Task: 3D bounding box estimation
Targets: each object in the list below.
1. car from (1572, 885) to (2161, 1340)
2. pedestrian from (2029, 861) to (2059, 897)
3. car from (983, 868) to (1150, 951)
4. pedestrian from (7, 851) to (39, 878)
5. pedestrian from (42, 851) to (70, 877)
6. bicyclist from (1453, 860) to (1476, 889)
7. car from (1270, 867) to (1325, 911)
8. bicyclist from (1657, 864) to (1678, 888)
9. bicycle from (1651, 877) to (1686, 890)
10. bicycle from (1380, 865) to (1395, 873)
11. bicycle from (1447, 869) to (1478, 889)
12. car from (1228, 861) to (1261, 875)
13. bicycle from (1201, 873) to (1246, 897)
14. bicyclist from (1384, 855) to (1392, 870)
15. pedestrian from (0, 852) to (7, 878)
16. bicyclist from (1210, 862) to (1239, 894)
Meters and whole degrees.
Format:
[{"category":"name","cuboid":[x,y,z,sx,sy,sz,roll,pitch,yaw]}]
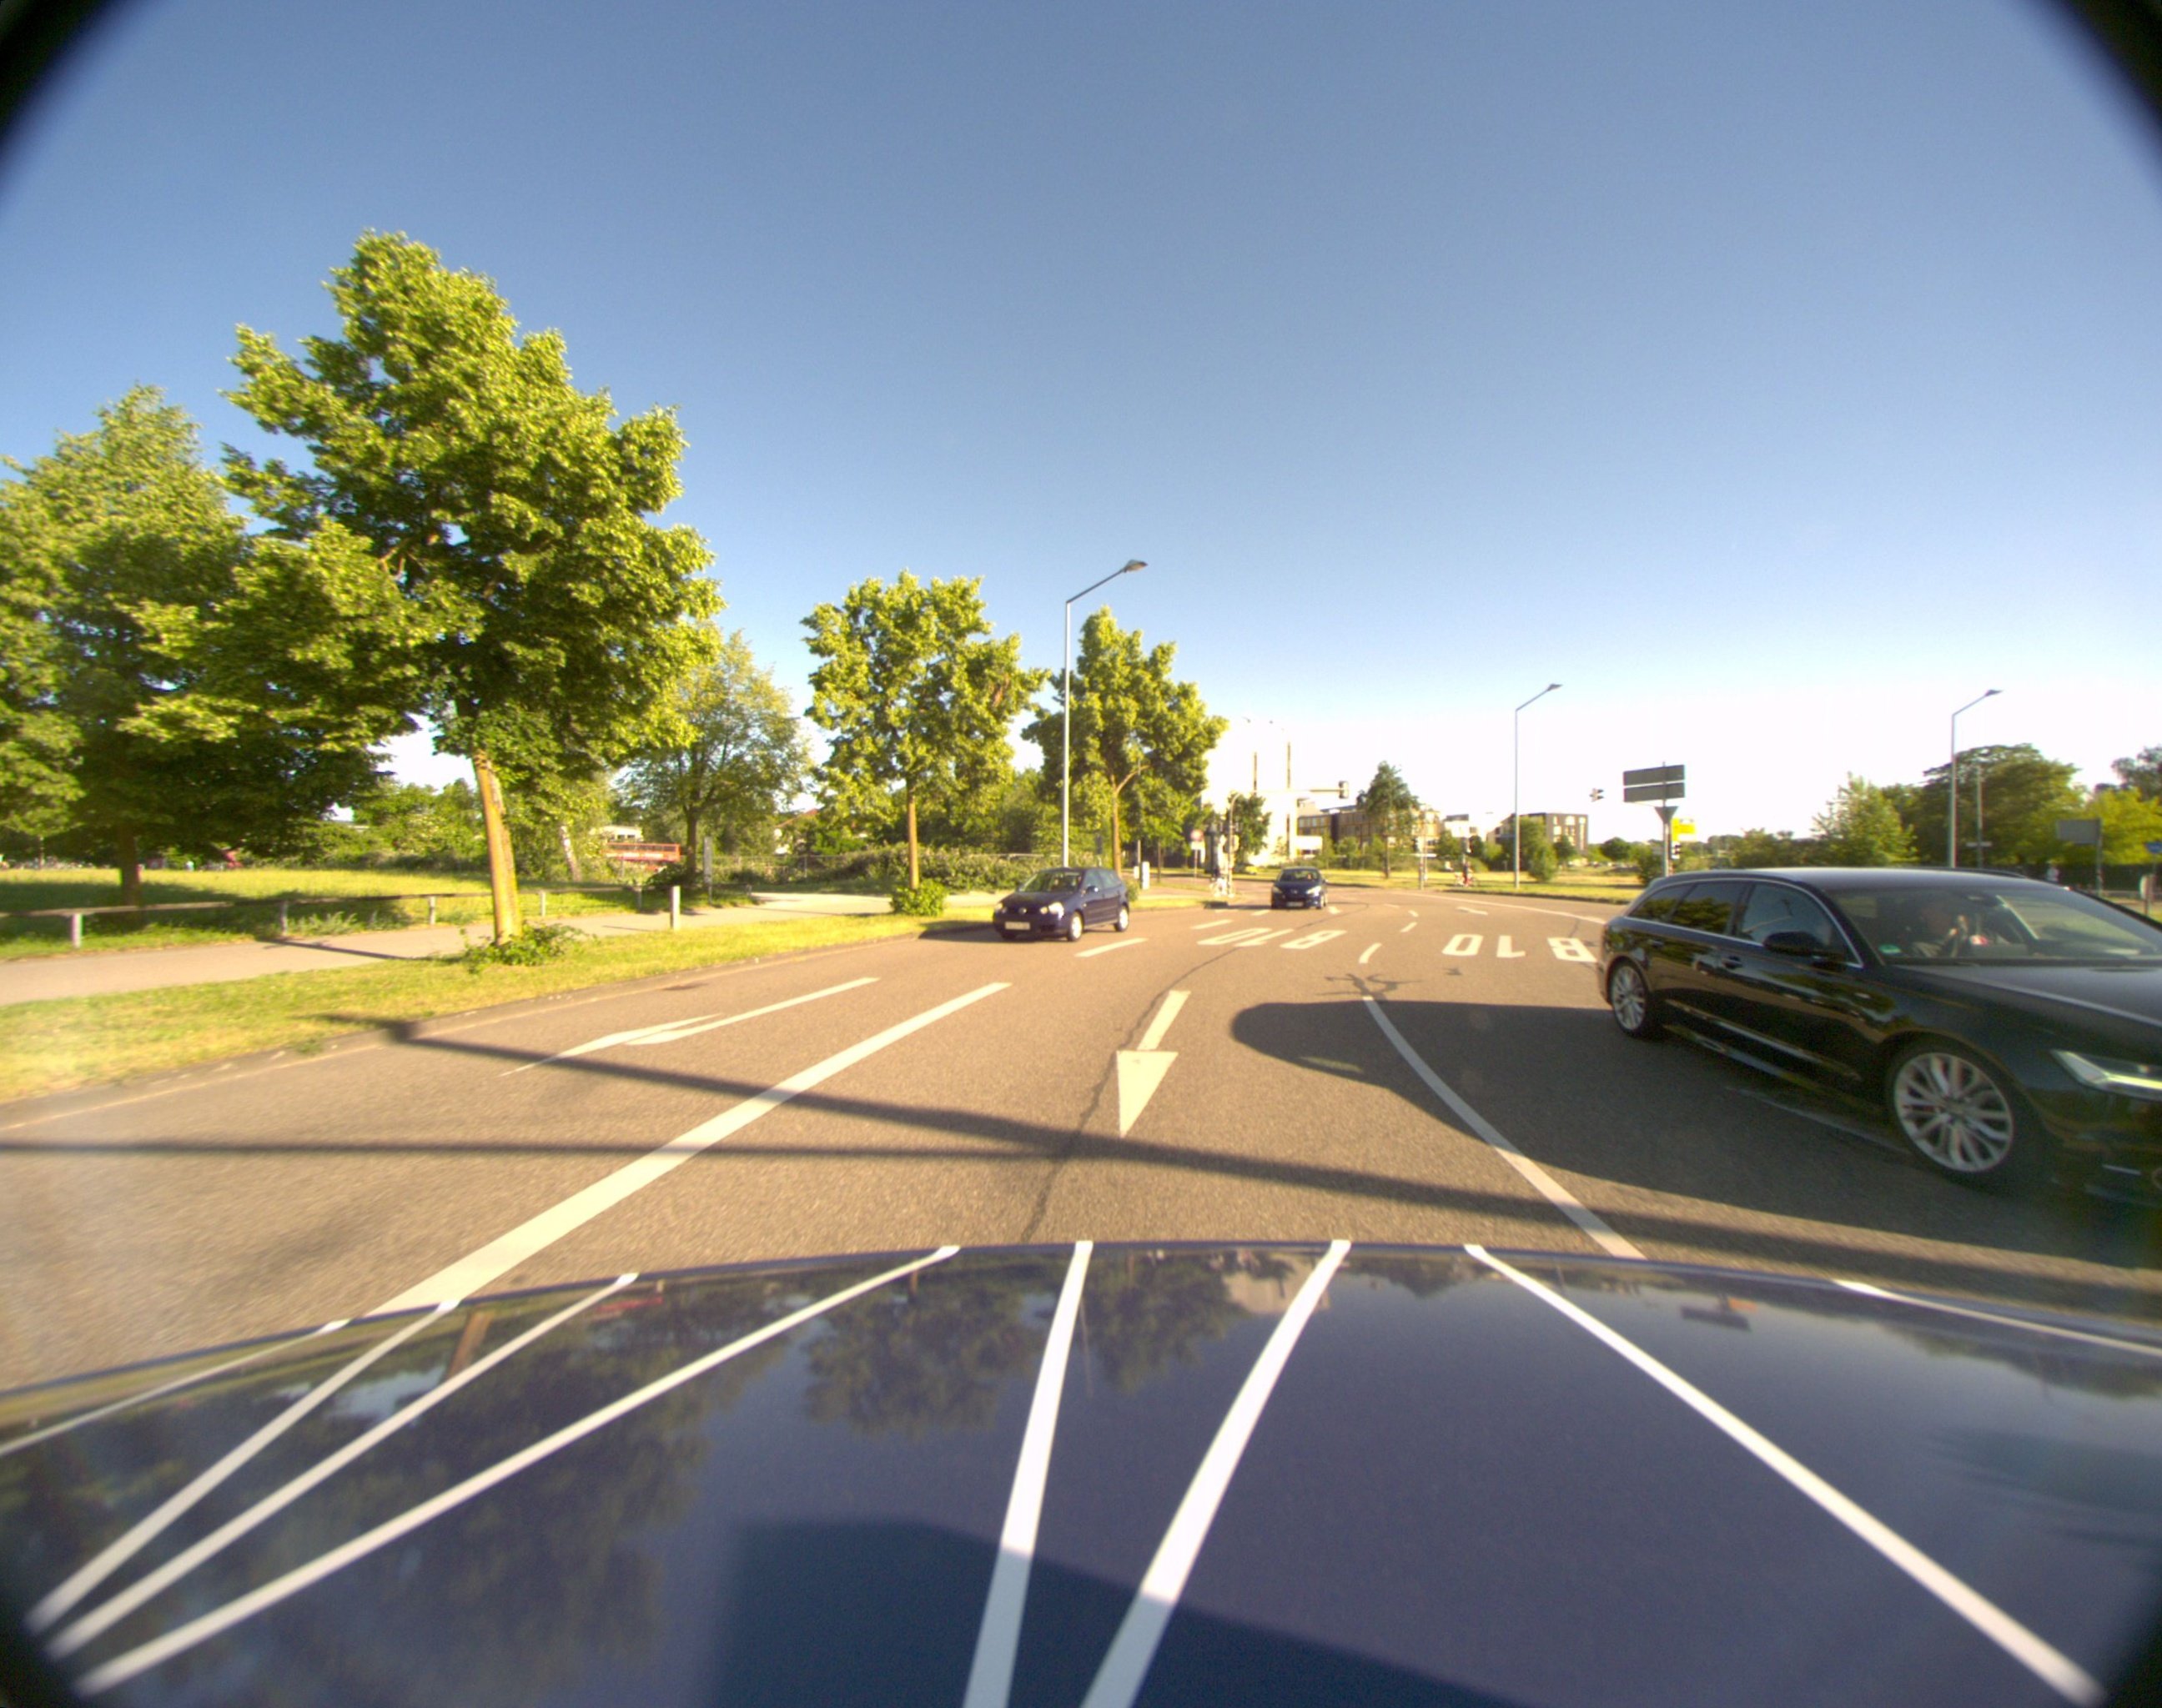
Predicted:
[{"category":"car","cuboid":[5.064,0.966,4.696,1.795,1.434,5.023,0,-1,13]},{"category":"pedestrian","cuboid":[54.370,1.400,42.918,0.941,1.994,0.590,0,0,41]},{"category":"car","cuboid":[-0.121,1.053,16.278,1.634,1.459,4.554,0,0,27]},{"category":"pedestrian","cuboid":[-58.127,0.566,41.755,0.775,1.432,0.792,0,0,-30]},{"category":"pedestrian","cuboid":[-56.891,0.532,42.162,0.663,1.432,0.792,0,0,-30]},{"category":"bicyclist","cuboid":[22.447,1.183,44.479,0.944,1.654,0.703,-1,1,-23]},{"category":"car","cuboid":[7.852,1.226,27.539,1.755,1.445,4.006,-1,-1,17]},{"category":"bicyclist","cuboid":[37.212,1.415,48.207,0.925,1.508,0.617,0,0,-8]},{"category":"bicycle","cuboid":[37.262,1.877,48.220,1.889,0.847,0.617,0,0,-8]},{"category":"bicycle","cuboid":[31.849,1.522,79.003,0.491,0.847,1.887,0,0,-10]},{"category":"bicycle","cuboid":[22.267,1.452,44.396,1.657,1.122,0.703,-1,1,-23]},{"category":"car","cuboid":[18.326,1.575,85.524,2.010,1.532,4.320,0,0,-13]},{"category":"bicycle","cuboid":[7.132,1.541,37.969,2.221,1.148,0.874,1,1,-37]},{"category":"bicyclist","cuboid":[31.867,0.927,78.891,0.433,1.555,0.851,0,0,-10]},{"category":"pedestrian","cuboid":[-58.800,0.597,41.000,0.688,1.432,0.792,0,0,-30]},{"category":"bicyclist","cuboid":[7.155,1.213,37.982,1.090,1.553,0.874,1,1,-37]}]
